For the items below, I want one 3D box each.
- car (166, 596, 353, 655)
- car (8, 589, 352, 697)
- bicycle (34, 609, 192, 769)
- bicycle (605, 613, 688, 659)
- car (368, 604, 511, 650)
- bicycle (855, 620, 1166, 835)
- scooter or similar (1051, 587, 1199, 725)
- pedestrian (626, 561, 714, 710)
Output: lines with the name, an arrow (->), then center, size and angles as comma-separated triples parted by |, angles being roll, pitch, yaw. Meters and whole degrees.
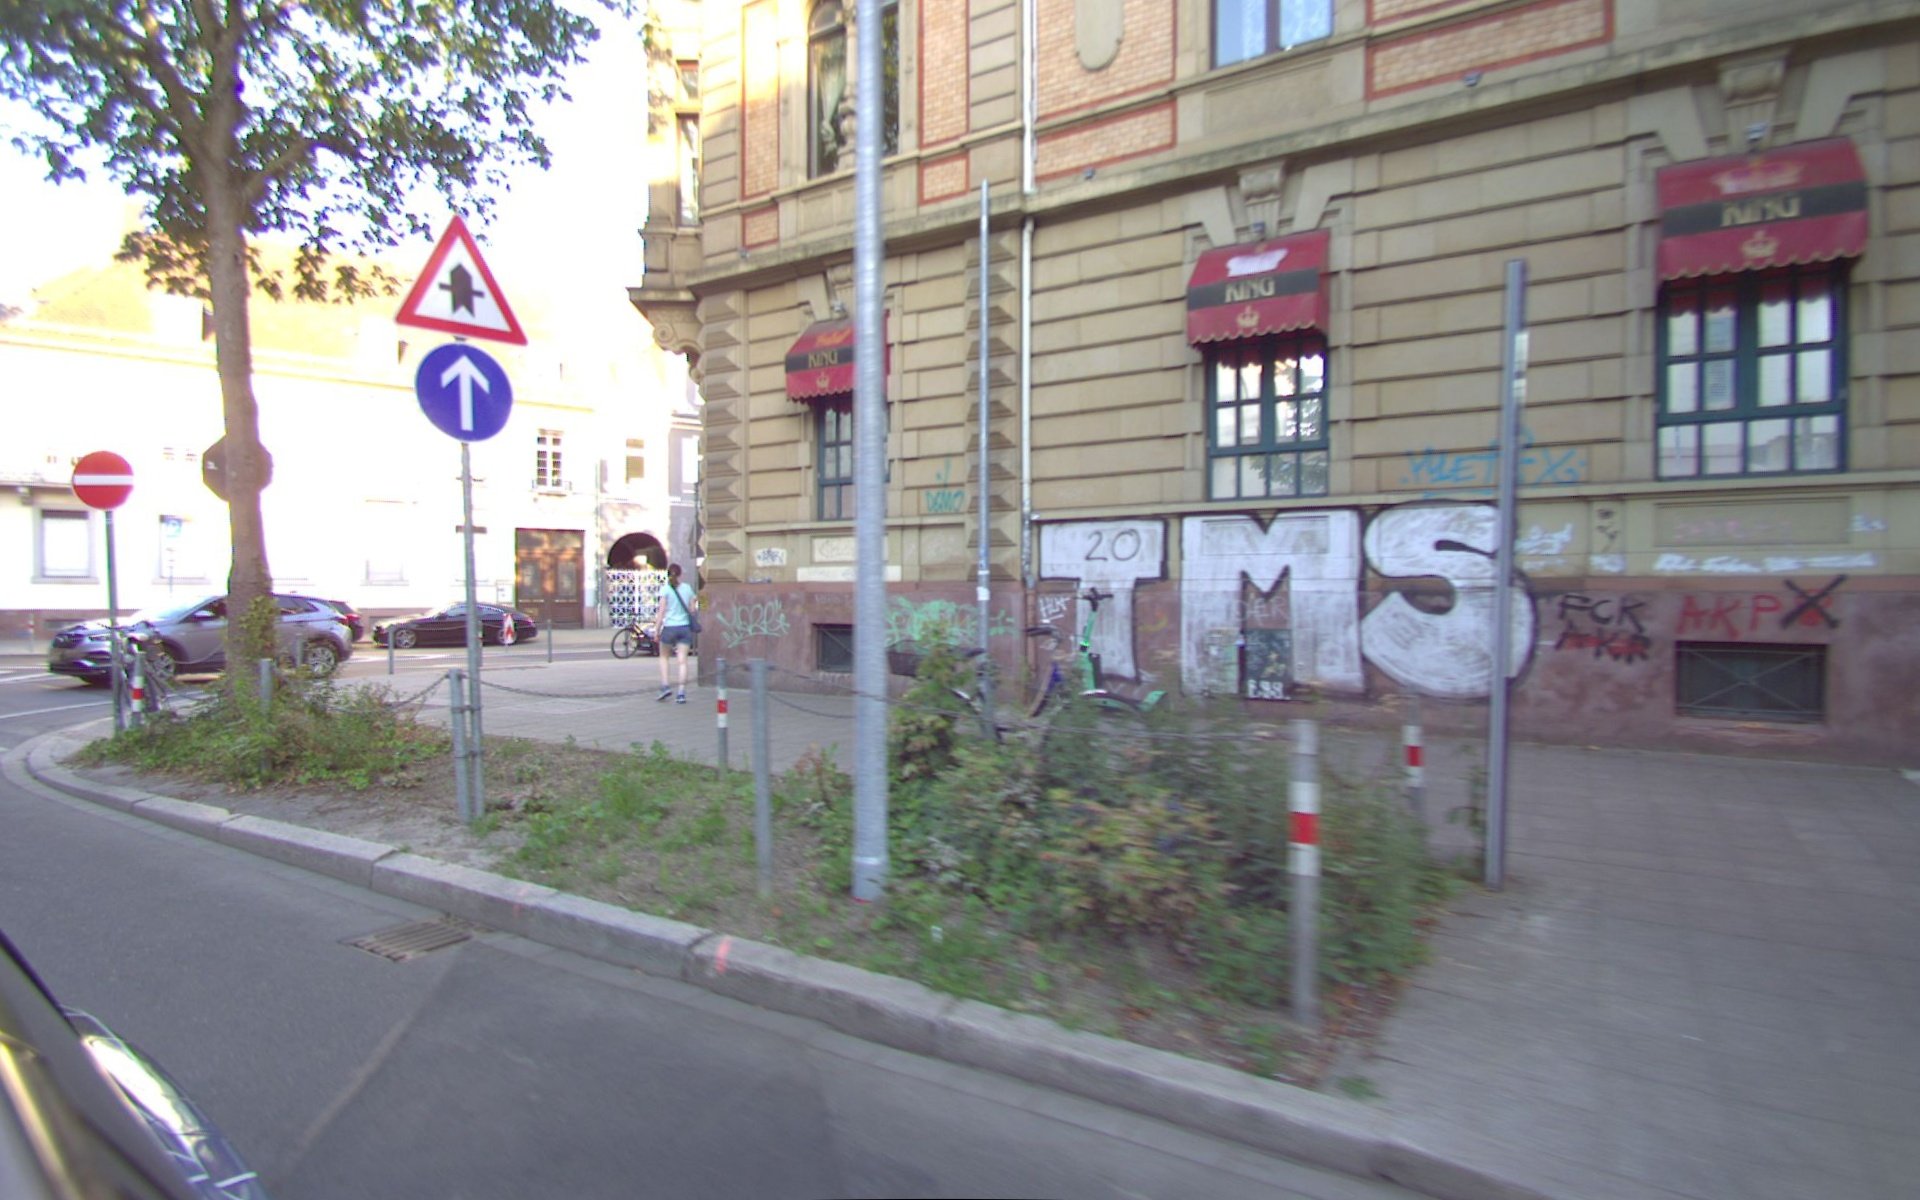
car -> -19.575, 0.676, 28.458 | 4.200, 1.541, 1.838 | 0, 0, -34
car -> -13.208, 0.648, 17.483 | 1.937, 1.582, 4.323 | 1, 0, 25
bicycle -> -7.748, 0.738, 9.370 | 0.793, 1.234, 2.424 | -4, 1, -34
bicycle -> -6.921, 0.795, 22.362 | 1.734, 0.979, 0.539 | 0, -3, -19
car -> -15.992, 0.783, 31.120 | 3.752, 1.335, 1.838 | 0, 0, -33
bicycle -> 0.279, 0.695, 6.041 | 1.791, 1.116, 0.496 | 0, 2, 27
scooter or similar -> 1.524, 0.511, 9.408 | 1.269, 1.207, 0.381 | -2, 1, 33
pedestrian -> -3.273, 0.375, 11.404 | 0.643, 1.577, 0.909 | -3, 1, -33
